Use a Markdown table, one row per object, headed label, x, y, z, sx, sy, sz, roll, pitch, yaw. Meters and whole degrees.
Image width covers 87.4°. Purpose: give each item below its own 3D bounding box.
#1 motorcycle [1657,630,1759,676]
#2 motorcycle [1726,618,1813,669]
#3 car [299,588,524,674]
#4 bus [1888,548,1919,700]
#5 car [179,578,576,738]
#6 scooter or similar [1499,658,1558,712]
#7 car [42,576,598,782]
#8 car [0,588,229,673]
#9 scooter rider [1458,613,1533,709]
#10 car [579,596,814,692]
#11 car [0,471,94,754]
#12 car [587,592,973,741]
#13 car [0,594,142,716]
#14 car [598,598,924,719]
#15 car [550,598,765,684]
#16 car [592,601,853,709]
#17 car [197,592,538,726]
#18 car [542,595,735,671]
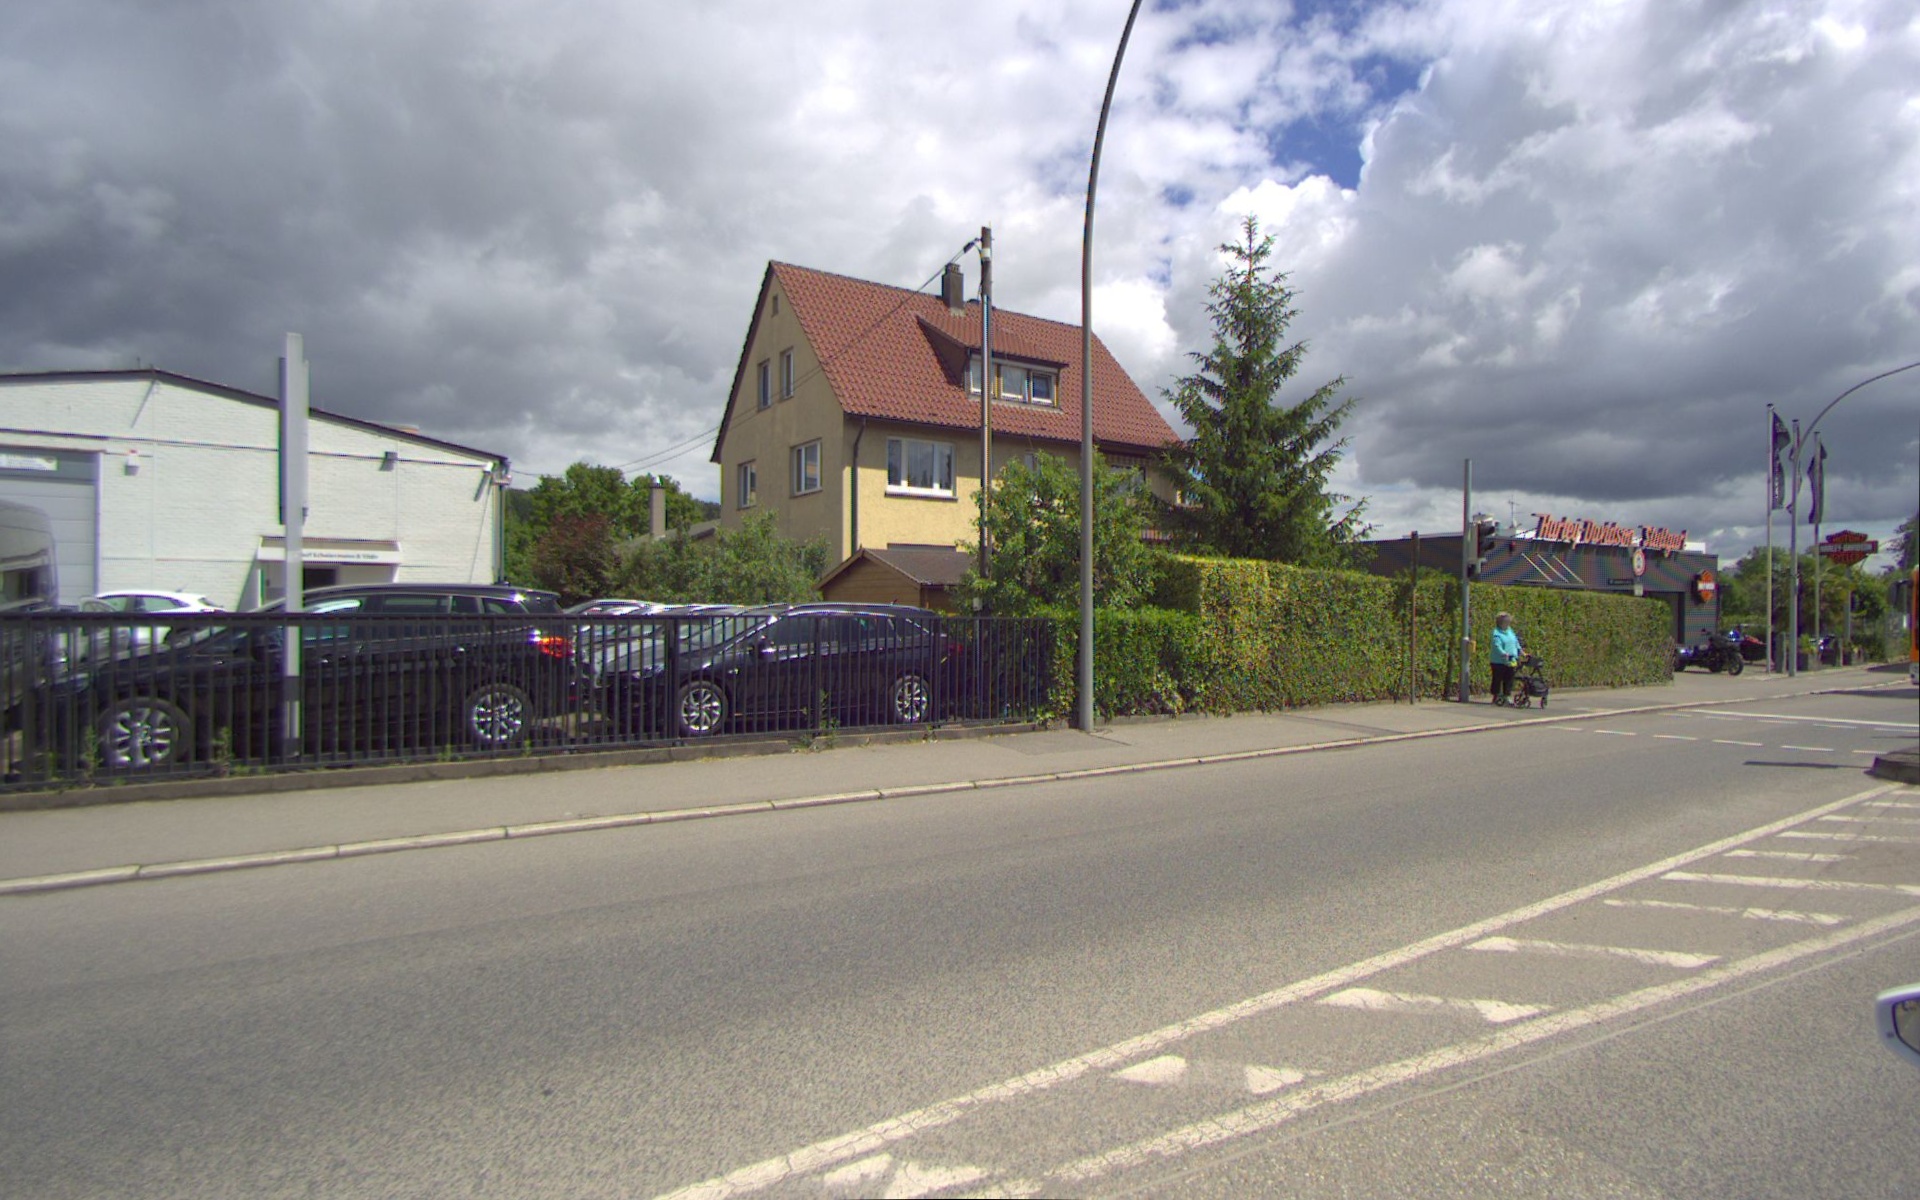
| label | x | y | z | sx | sy | sz | roll | pitch | yaw |
| --- | --- | --- | --- | --- | --- | --- | --- | --- | --- |
| motorcycle | 22.384 | 1.555 | 30.137 | 0.910 | 1.234 | 2.504 | 2 | 0 | -9 |
| motorcycle | 28.778 | 1.528 | 35.755 | 1.023 | 1.705 | 2.306 | 2 | 0 | -9 |
| car | -11.541 | 0.645 | 21.242 | 3.964 | 1.639 | 1.762 | 1 | -1 | -38 |
| bus | 26.500 | 0.594 | 24.107 | 11.979 | 3.309 | 2.765 | 1 | -2 | -30 |
| car | -6.980 | 0.647 | 12.245 | 3.964 | 1.639 | 1.762 | 1 | -1 | -38 |
| scooter or similar | 9.576 | 1.418 | 16.923 | 0.652 | 0.843 | 0.608 | 1 | 1 | -32 |
| car | -6.026 | 0.668 | 9.938 | 4.242 | 1.616 | 2.018 | 1 | -1 | -36 |
| car | -19.101 | 0.652 | 21.962 | 4.958 | 1.735 | 2.035 | 1 | -1 | -36 |
| scooter rider | 9.299 | 1.028 | 17.452 | 0.787 | 1.610 | 0.873 | 1 | -1 | -32 |
| car | -4.955 | 0.804 | 19.052 | 3.960 | 1.639 | 1.764 | 1 | -1 | -35 |
| car | -10.104 | 0.113 | 9.109 | 2.450 | 2.529 | 6.005 | 1 | -1 | -32 |
| car | -2.153 | 0.729 | 12.430 | 4.225 | 1.527 | 2.139 | 1 | -1 | -36 |
| car | -13.070 | 0.691 | 13.897 | 1.930 | 1.499 | 4.023 | 1 | -1 | -28 |
| car | -2.877 | 0.790 | 14.813 | 4.225 | 1.527 | 2.139 | 1 | -1 | -36 |
| car | -6.291 | 0.841 | 21.079 | 3.964 | 1.639 | 1.762 | 1 | -1 | -38 |
| car | -3.988 | 0.878 | 17.082 | 3.960 | 1.639 | 1.764 | 1 | -1 | -35 |
| car | -8.267 | 0.770 | 14.176 | 3.964 | 1.639 | 1.762 | 1 | -1 | -38 |
| car | -7.475 | 0.763 | 23.536 | 3.964 | 1.639 | 1.762 | 1 | -1 | -38 |
